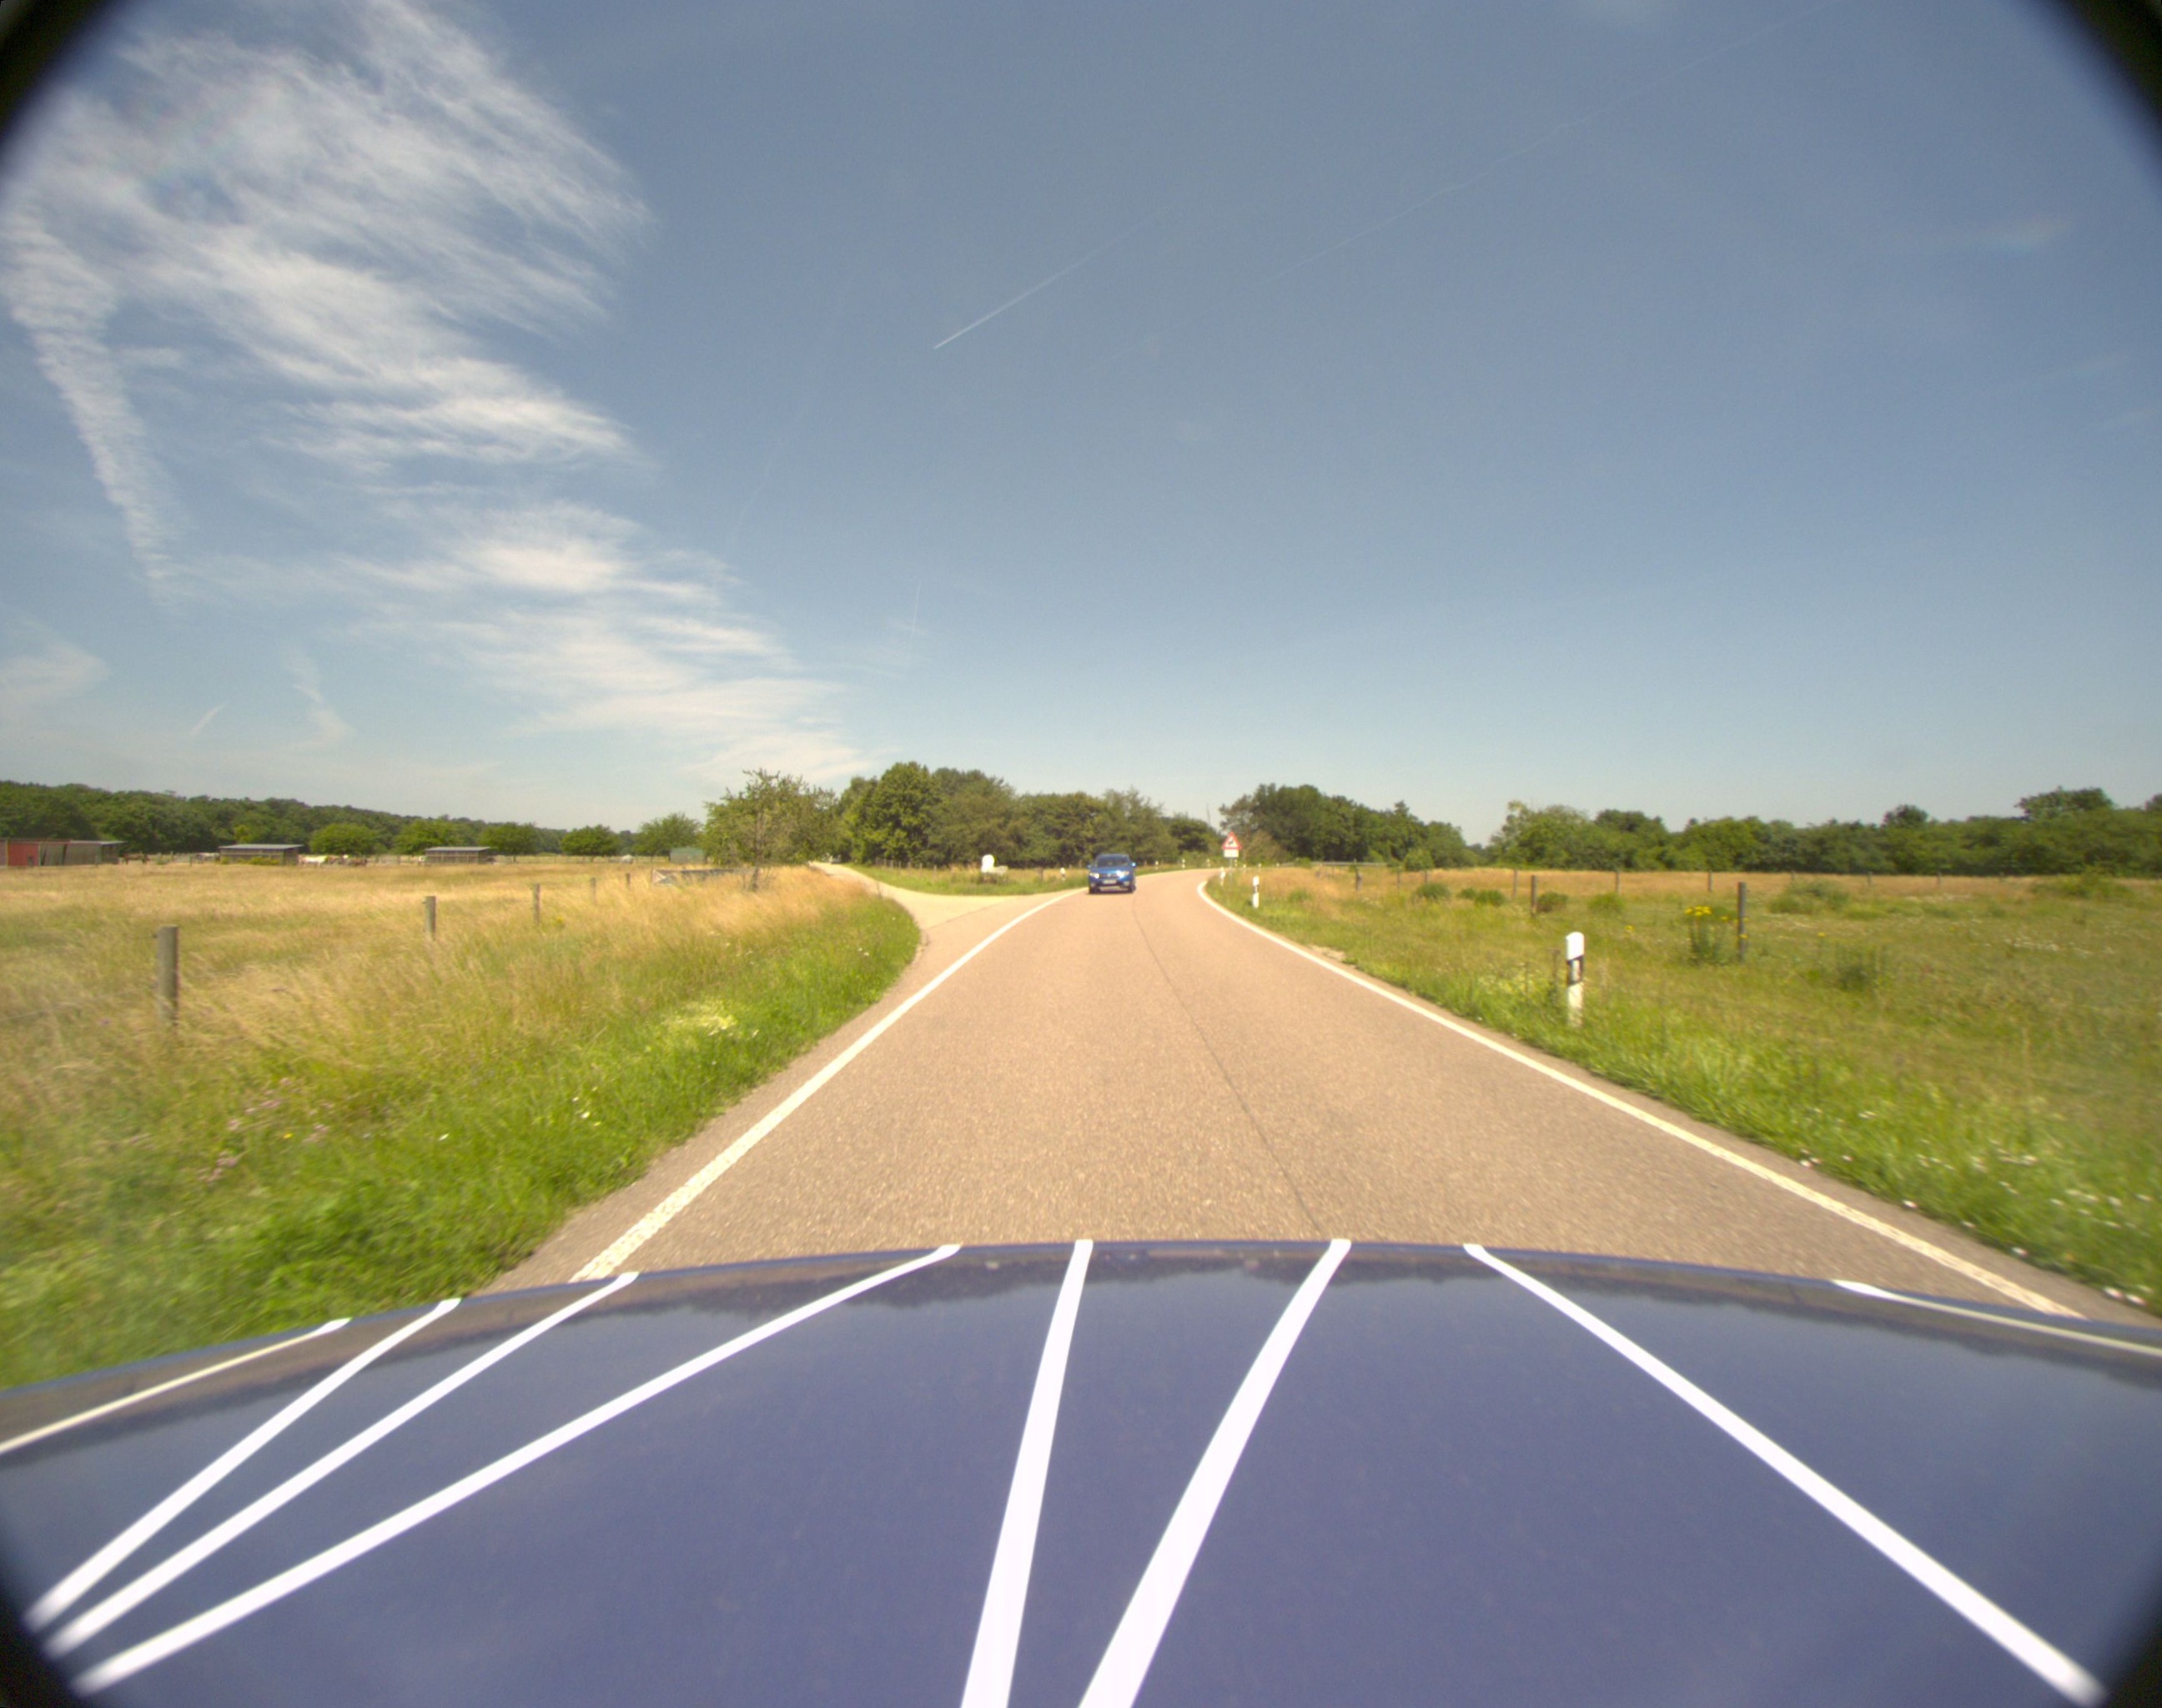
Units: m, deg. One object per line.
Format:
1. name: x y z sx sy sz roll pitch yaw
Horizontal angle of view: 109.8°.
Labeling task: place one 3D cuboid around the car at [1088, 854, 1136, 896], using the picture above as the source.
1. car: 1.323 0.795 30.939 1.733 1.572 4.001 -1 0 5
